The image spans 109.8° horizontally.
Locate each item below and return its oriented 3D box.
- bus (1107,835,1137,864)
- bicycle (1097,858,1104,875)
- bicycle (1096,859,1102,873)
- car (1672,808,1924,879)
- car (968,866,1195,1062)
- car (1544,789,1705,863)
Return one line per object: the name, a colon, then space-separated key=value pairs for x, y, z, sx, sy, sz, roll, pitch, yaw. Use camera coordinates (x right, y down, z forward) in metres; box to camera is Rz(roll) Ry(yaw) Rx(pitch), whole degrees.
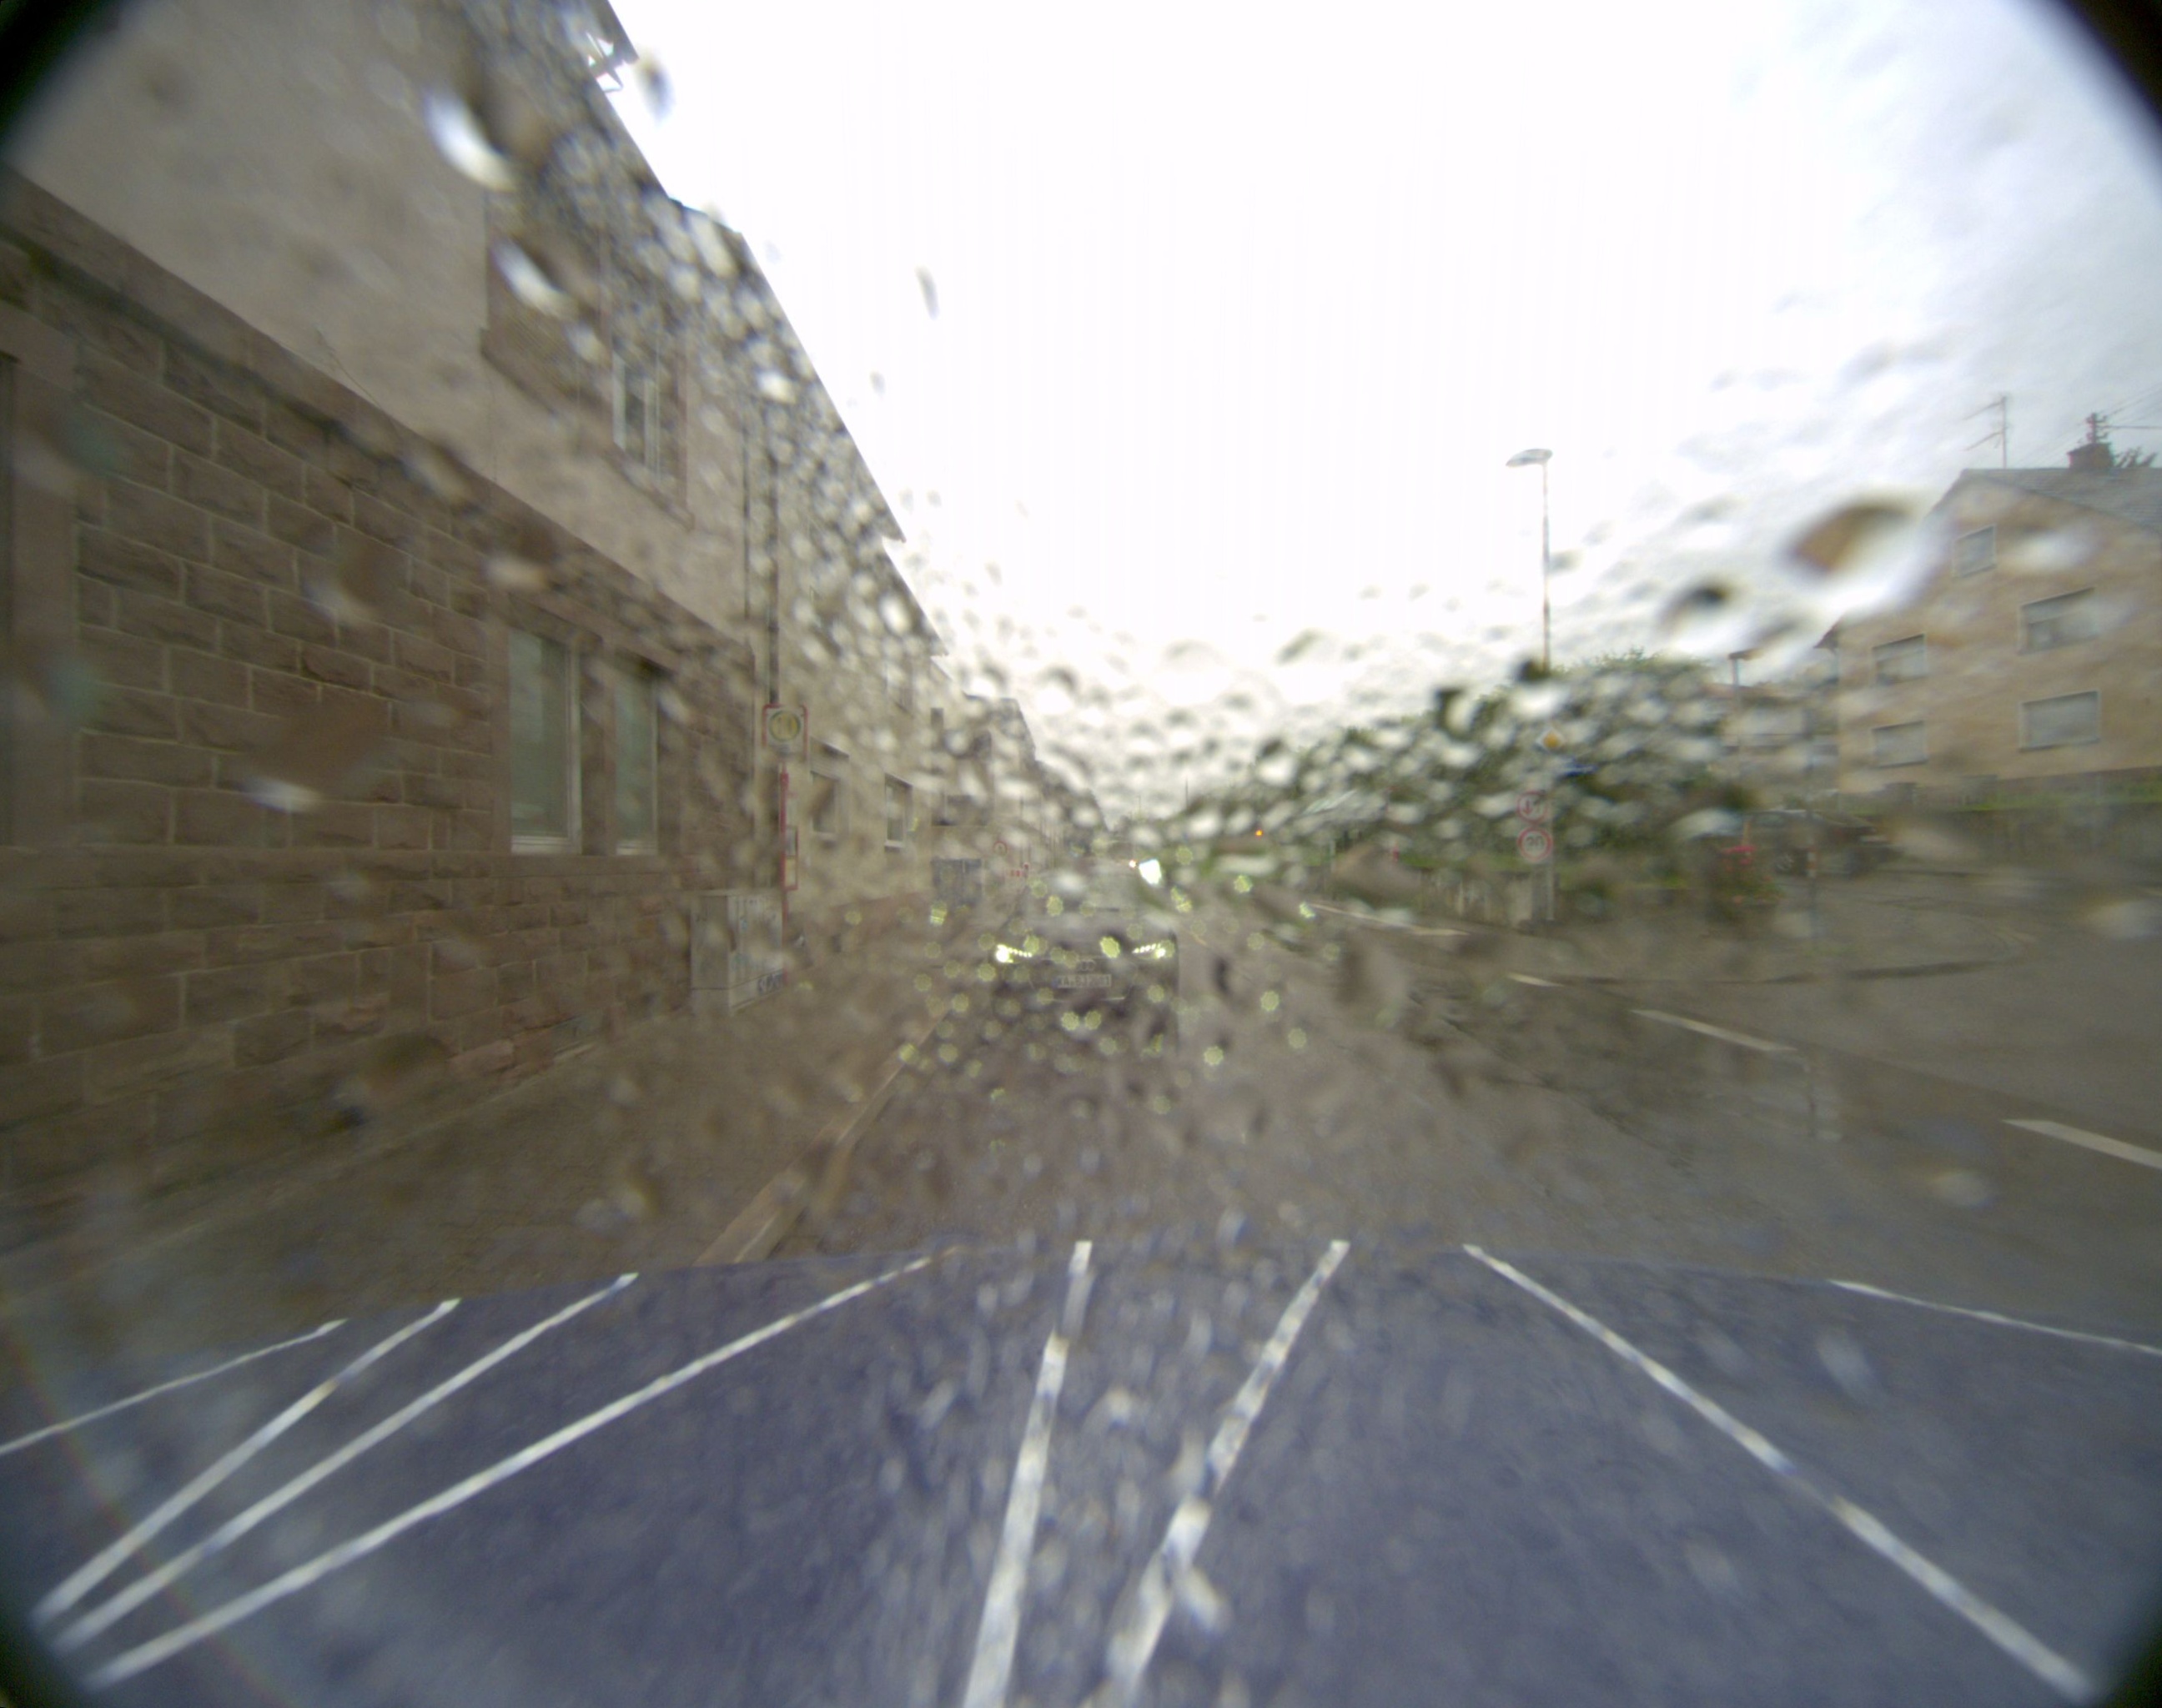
bus: x=4.542 y=-0.525 z=86.345 sx=2.685 sy=2.987 sz=14.543 roll=1 pitch=1 yaw=0
bicycle: x=1.380 y=0.862 z=53.969 sx=0.407 sy=1.137 sz=1.221 roll=1 pitch=1 yaw=2
bicycle: x=1.332 y=0.885 z=56.206 sx=0.407 sy=1.023 sz=1.221 roll=1 pitch=1 yaw=2
car: x=16.005 y=-0.318 z=17.330 sx=1.749 sy=1.382 sz=4.220 roll=-2 pitch=3 yaw=0
car: x=0.038 y=0.943 z=8.515 sx=1.851 sy=1.444 sz=4.531 roll=1 pitch=1 yaw=1
car: x=16.265 y=-0.880 z=23.062 sx=1.788 sy=1.994 sz=4.318 roll=-2 pitch=3 yaw=0
